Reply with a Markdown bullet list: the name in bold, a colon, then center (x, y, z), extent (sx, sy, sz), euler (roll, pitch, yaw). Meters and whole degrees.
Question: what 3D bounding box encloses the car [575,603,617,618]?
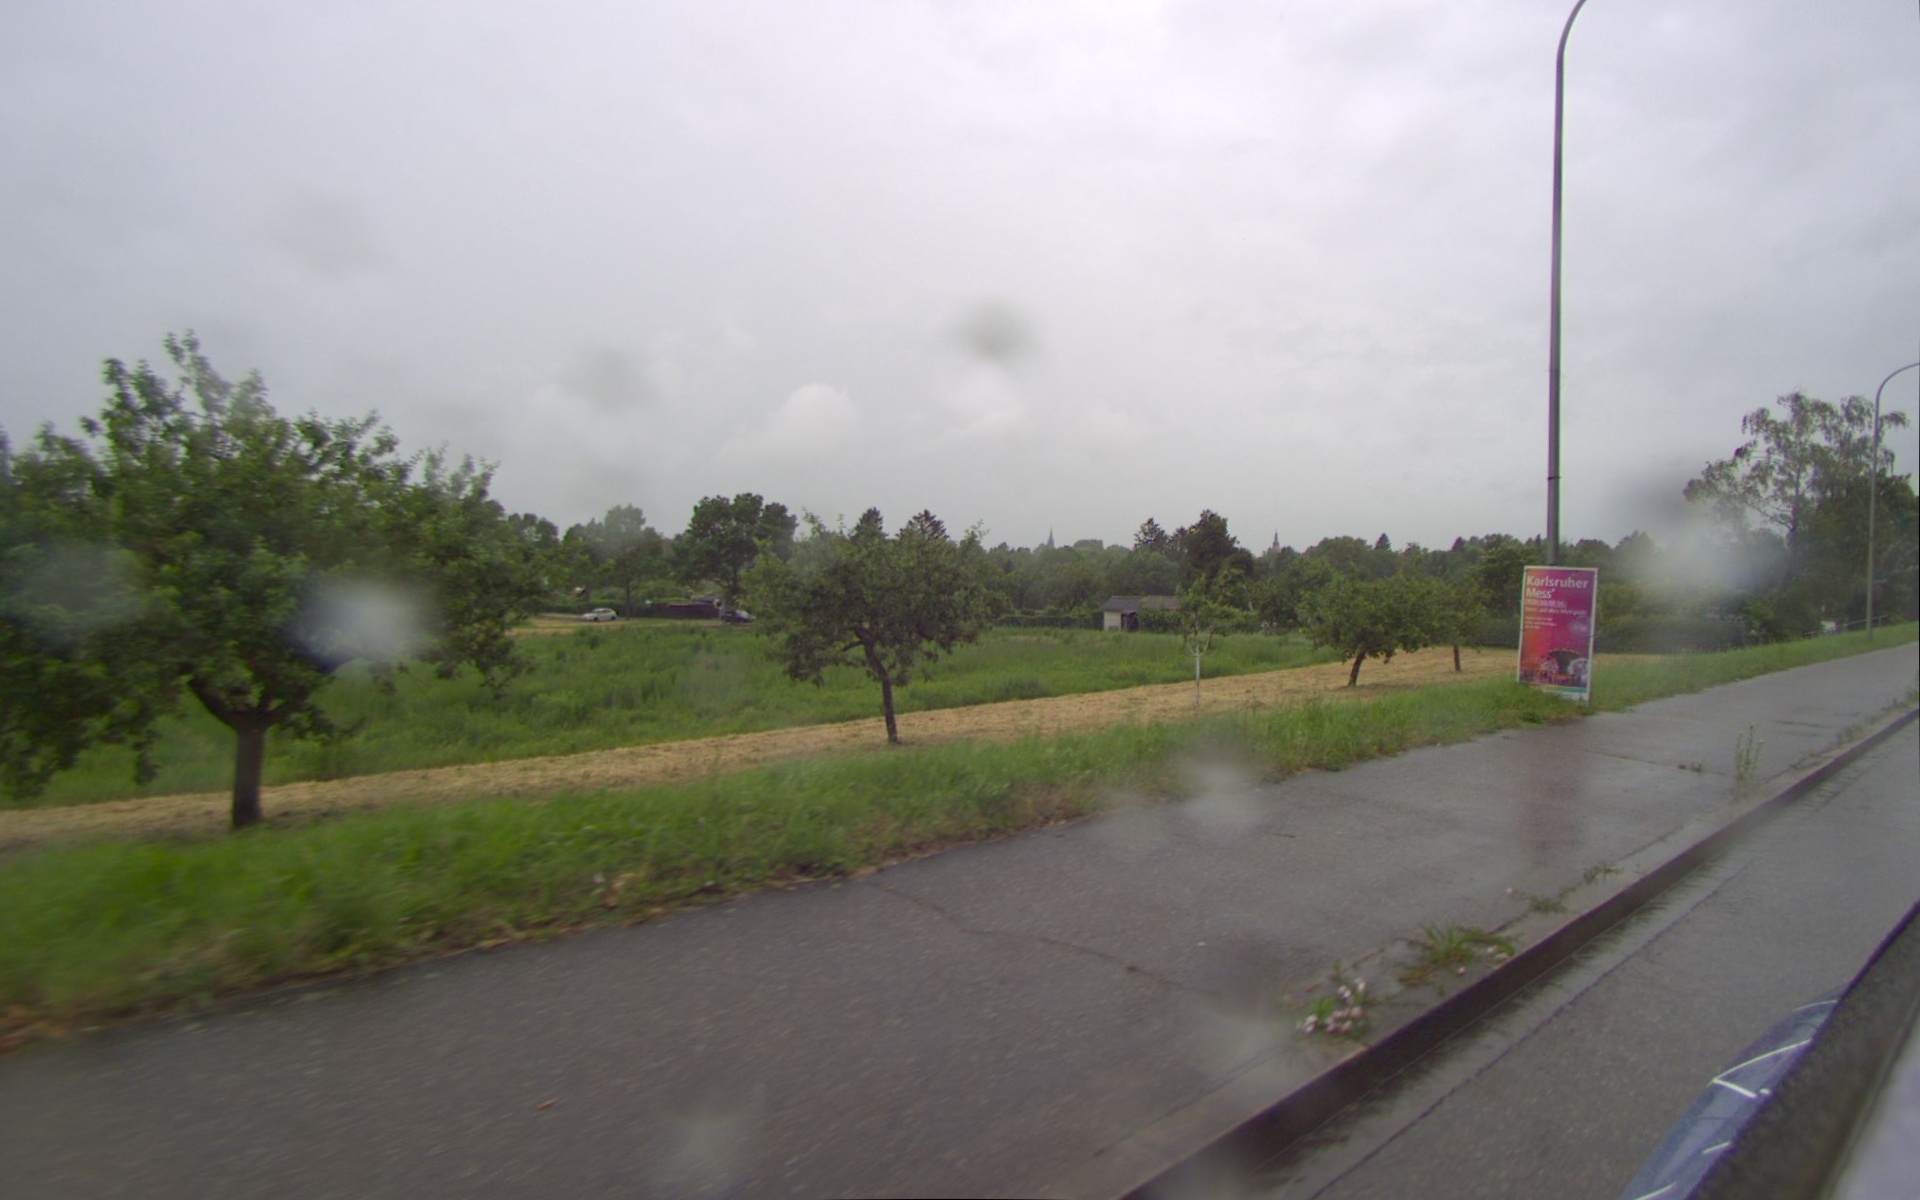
- **car**: center (-39.853, 1.110, 110.866), extent (1.785, 1.529, 4.121), euler (-1, 0, 30)
